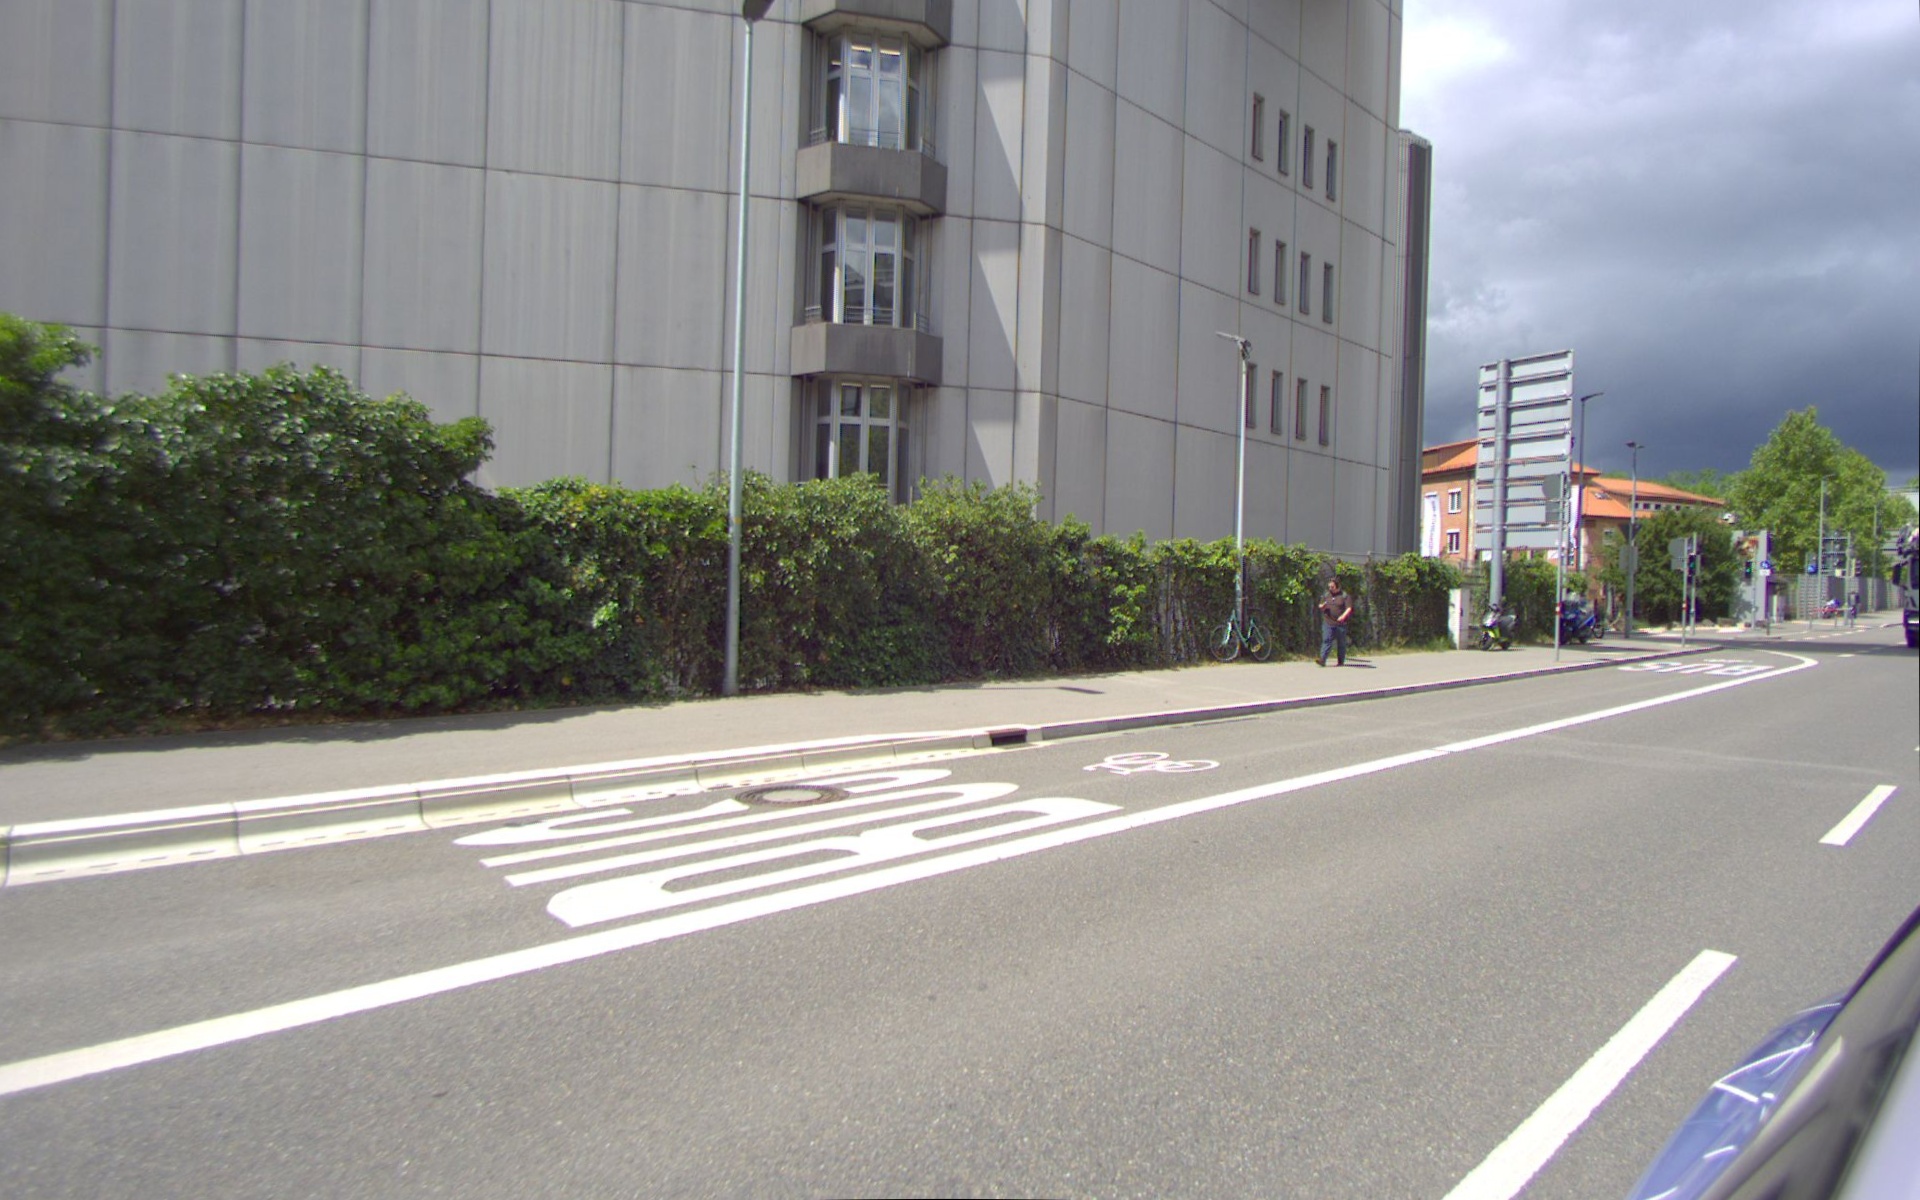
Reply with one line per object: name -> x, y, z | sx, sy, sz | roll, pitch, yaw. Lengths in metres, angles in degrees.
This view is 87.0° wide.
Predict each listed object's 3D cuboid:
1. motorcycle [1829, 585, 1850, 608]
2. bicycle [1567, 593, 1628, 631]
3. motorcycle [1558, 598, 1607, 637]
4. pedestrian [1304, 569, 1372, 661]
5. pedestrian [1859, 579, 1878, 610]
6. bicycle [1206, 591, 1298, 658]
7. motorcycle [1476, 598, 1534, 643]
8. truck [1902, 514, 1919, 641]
motorcycle -> 50.680, -0.206, 58.334 | 2.137, 1.241, 0.570 | -1, 3, -41
bicycle -> 20.936, 0.385, 33.284 | 0.535, 1.142, 1.973 | 2, 1, -6
motorcycle -> 18.105, 0.489, 29.432 | 2.001, 1.080, 0.592 | 0, 3, -41
pedestrian -> 7.155, 0.267, 19.152 | 0.981, 1.665, 0.811 | 0, 3, -42
pedestrian -> 53.565, -0.333, 59.678 | 0.998, 1.788, 0.728 | 0, 0, -41
bicycle -> 5.568, 0.427, 19.213 | 2.426, 1.195, 0.444 | -1, 0, -41
motorcycle -> 13.793, 0.500, 25.576 | 2.001, 1.080, 0.592 | 0, 2, -41
truck -> 34.302, -0.764, 33.959 | 10.552, 3.934, 2.711 | -1, 0, -40
